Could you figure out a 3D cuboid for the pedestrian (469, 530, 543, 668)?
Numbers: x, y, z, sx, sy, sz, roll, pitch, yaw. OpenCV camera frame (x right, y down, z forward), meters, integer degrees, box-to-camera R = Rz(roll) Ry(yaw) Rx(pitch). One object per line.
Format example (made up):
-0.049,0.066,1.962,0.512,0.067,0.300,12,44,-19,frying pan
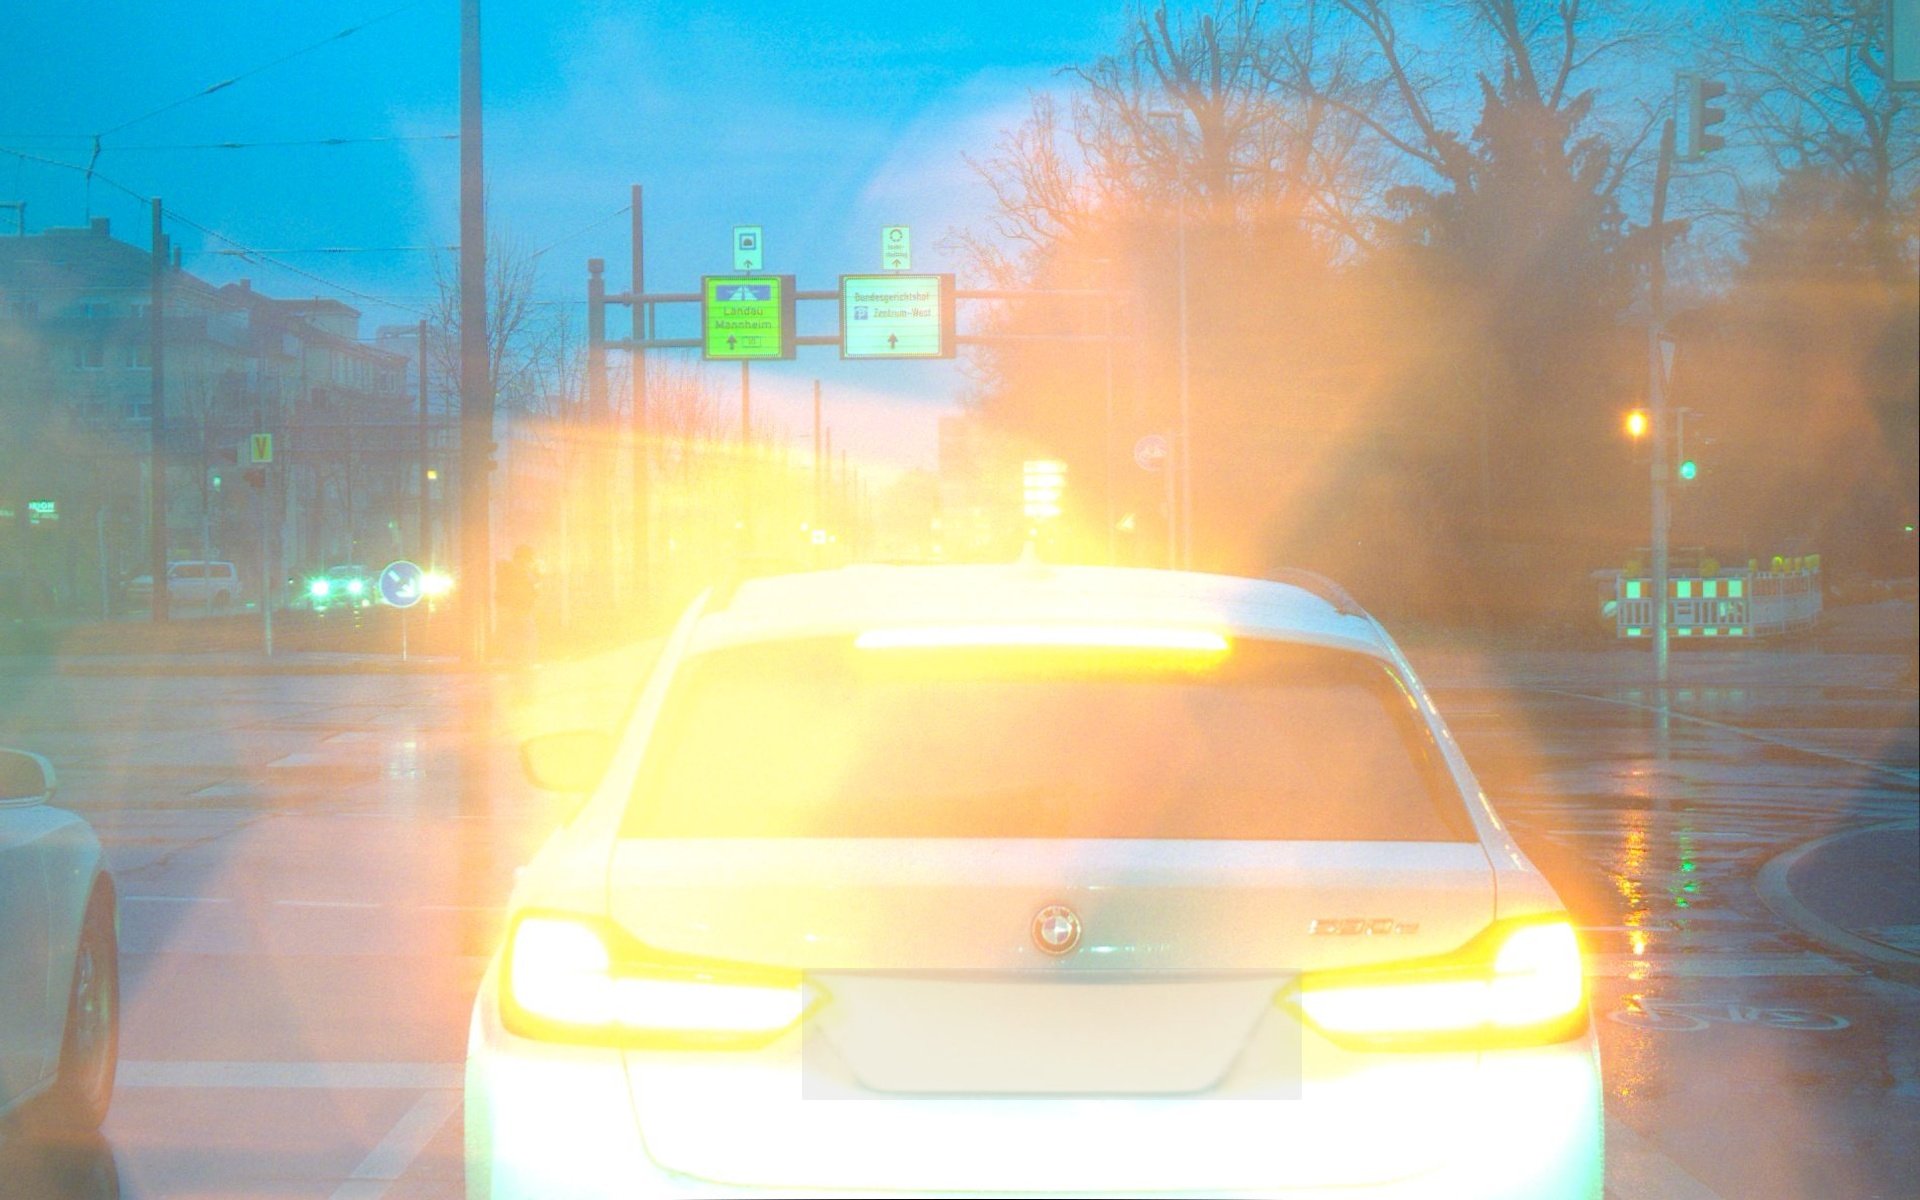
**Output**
-6.167,-0.013,46.688,0.902,1.850,0.812,1,0,-11,pedestrian

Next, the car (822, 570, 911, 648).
-2.026,0.181,74.222,1.843,1.603,3.945,1,0,-2,car

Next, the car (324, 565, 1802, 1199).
0.050,0.677,6.823,1.993,1.451,4.369,0,1,-2,car

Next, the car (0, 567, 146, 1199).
-3.096,0.673,7.041,1.993,1.451,4.369,0,1,-2,car

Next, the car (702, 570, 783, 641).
-5.179,0.124,82.310,1.843,1.603,3.945,1,0,-3,car

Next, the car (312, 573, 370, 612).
-24.732,-0.291,137.407,1.675,1.502,3.696,1,0,-1,car
